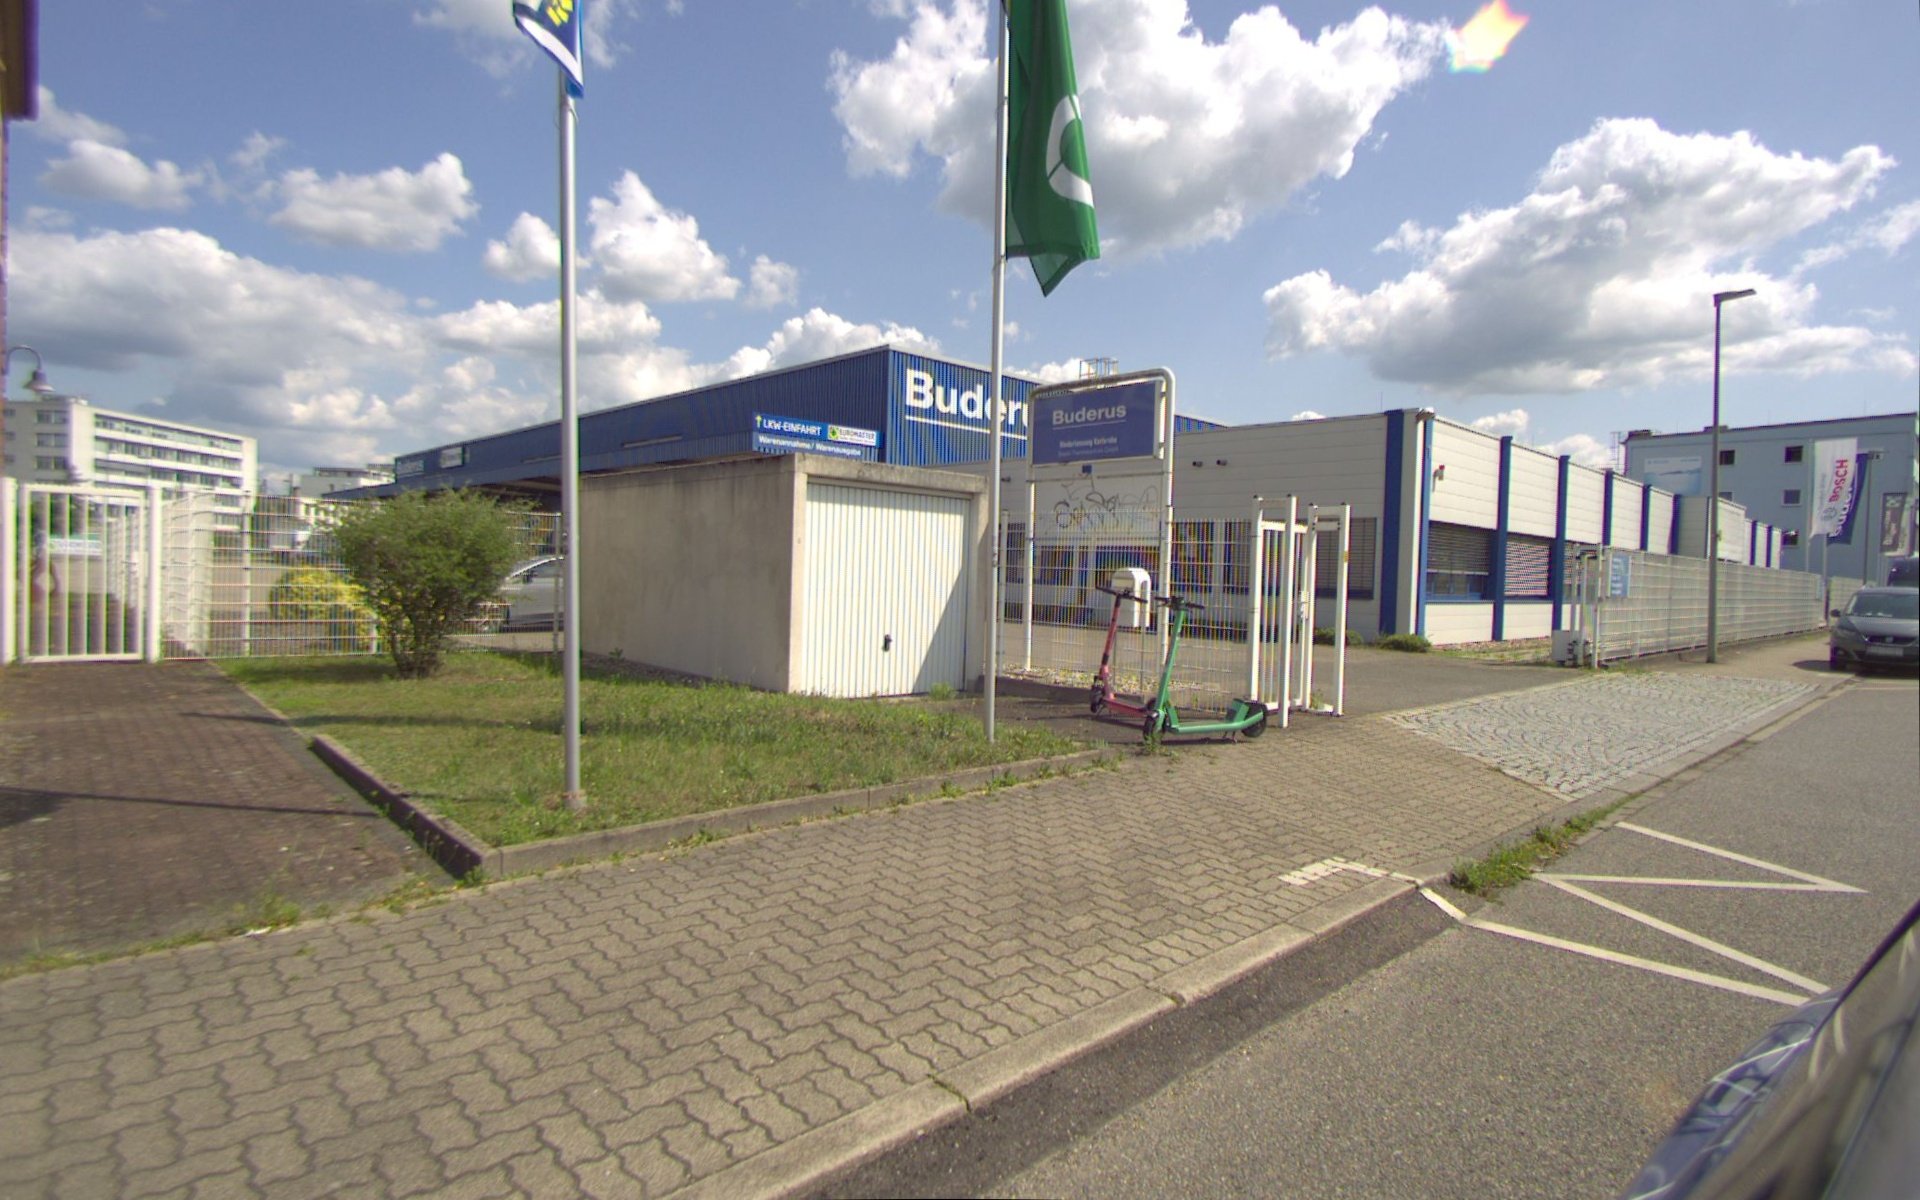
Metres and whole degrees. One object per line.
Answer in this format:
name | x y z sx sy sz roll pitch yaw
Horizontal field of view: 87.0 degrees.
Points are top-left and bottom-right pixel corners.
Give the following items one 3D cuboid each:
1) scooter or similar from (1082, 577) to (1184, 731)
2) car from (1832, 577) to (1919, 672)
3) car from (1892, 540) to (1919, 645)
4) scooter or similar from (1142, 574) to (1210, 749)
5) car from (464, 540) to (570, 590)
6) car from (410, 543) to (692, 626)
scooter or similar | 1.533 0.449 9.119 0.254 1.261 1.152 1 2 -25
car | 18.941 0.451 20.174 4.479 1.685 1.828 0 3 -43
car | 28.097 -0.170 28.733 6.052 2.782 1.940 0 3 -44
scooter or similar | 1.692 0.465 7.938 0.360 1.328 0.333 0 2 -43
car | -19.297 -1.495 44.141 3.892 2.038 1.669 0 2 -42
car | -8.303 -0.326 20.868 5.010 1.495 1.996 0 2 -44
